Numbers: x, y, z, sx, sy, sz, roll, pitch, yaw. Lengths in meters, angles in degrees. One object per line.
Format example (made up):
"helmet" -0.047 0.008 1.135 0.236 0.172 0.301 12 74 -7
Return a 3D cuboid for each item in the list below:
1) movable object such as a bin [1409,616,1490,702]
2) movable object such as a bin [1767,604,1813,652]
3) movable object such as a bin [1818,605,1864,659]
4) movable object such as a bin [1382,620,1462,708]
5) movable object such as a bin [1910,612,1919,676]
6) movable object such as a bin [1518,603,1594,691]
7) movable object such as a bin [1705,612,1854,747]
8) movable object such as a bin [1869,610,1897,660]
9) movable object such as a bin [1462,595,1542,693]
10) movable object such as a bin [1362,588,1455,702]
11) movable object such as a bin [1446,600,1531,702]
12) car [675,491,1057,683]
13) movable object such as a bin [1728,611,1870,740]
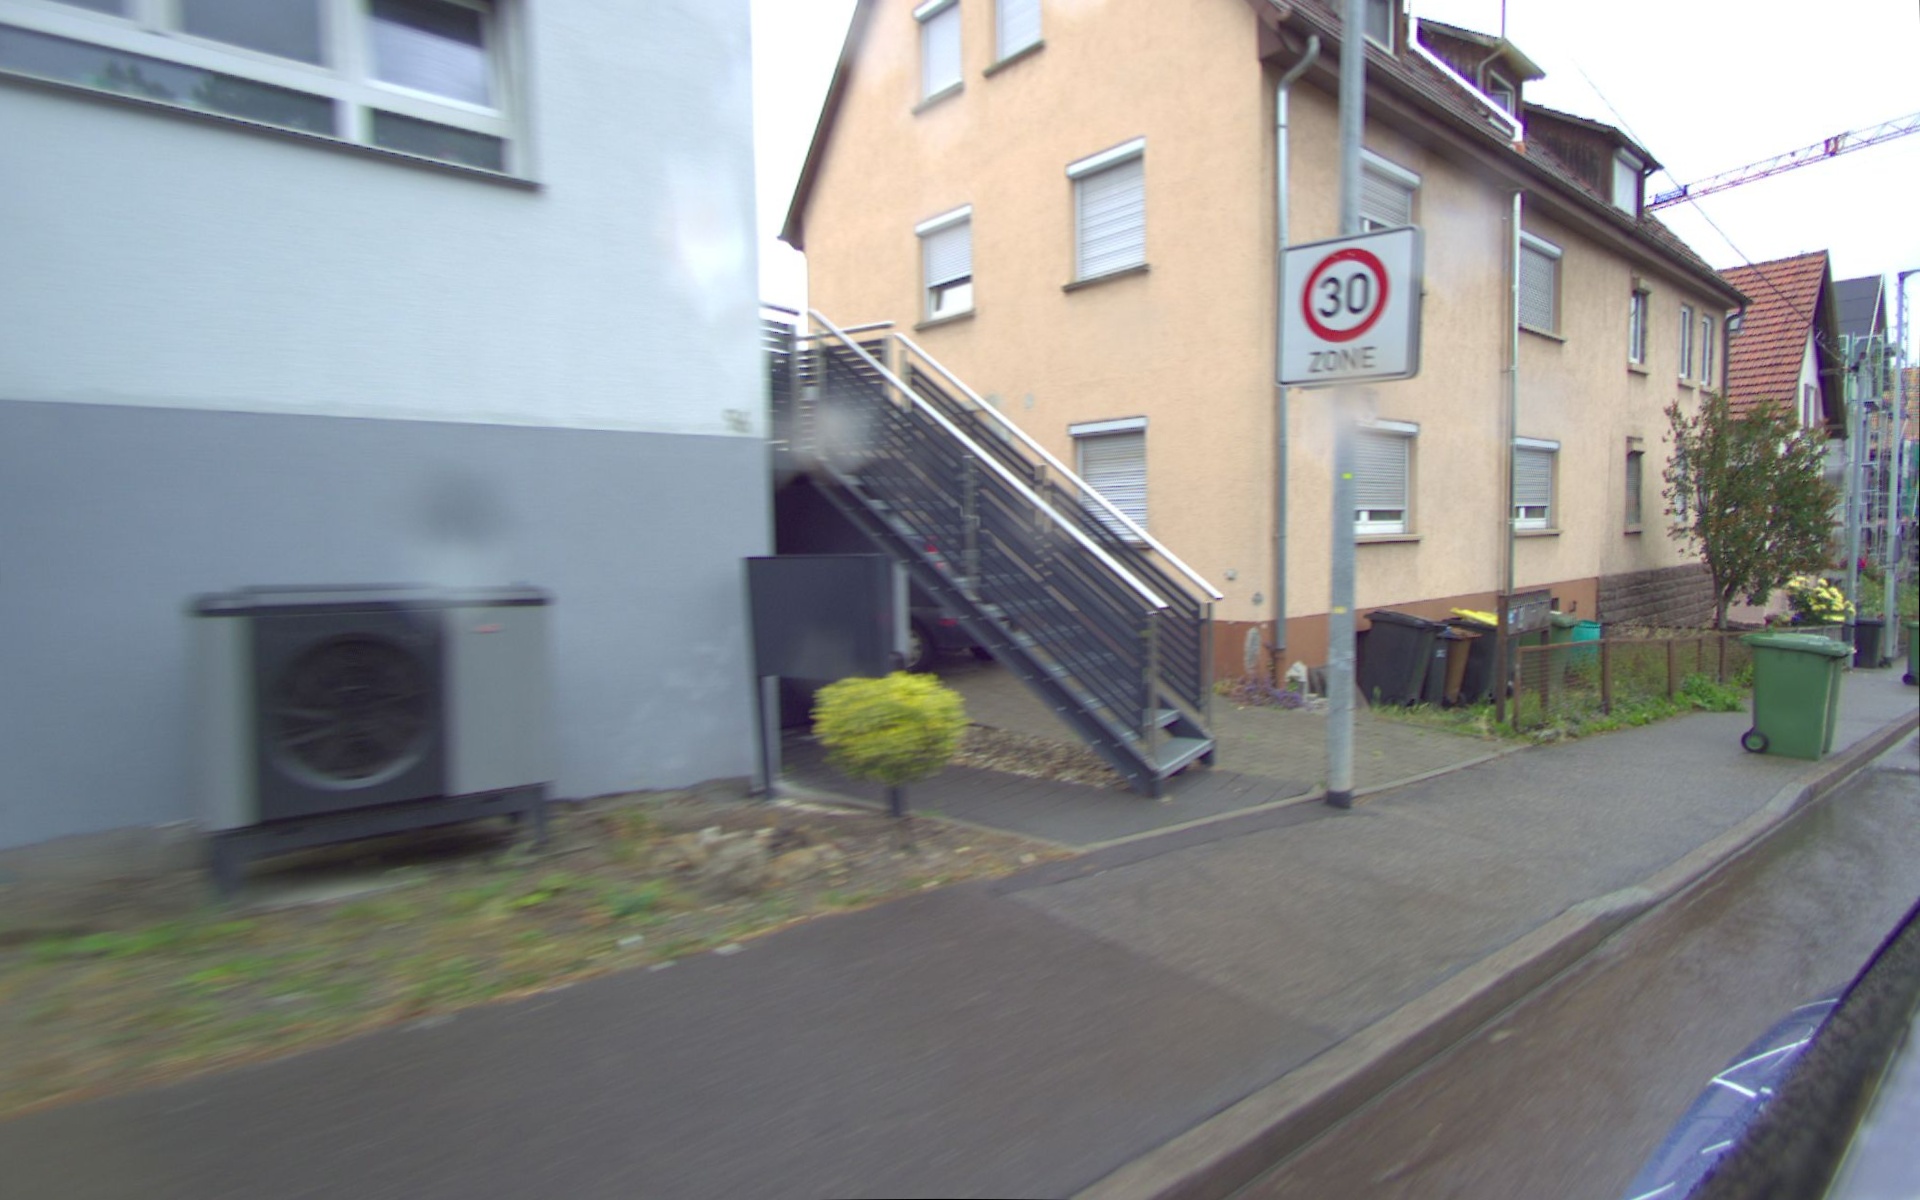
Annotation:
"movable object such as a bin" 5.587 0.656 11.562 0.527 0.906 0.671 1 1 -41
"movable object such as a bin" 18.789 0.619 22.914 0.779 0.978 0.611 0 7 -43
"movable object such as a bin" 19.217 0.687 22.068 0.779 1.089 0.610 0 4 -43
"movable object such as a bin" 5.116 0.696 11.214 0.527 0.906 0.638 1 1 -41
"movable object such as a bin" 16.780 0.759 17.251 0.785 1.065 0.722 0 1 -38
"movable object such as a bin" 8.113 0.616 13.785 0.645 1.106 0.661 0 4 -43
"movable object such as a bin" 7.440 0.686 9.196 0.689 1.117 0.916 0 1 -38
"movable object such as a bin" 19.519 0.732 21.403 0.479 1.031 0.380 0 1 -41
"movable object such as a bin" 6.691 0.524 12.492 0.536 1.106 0.646 0 5 -42
"movable object such as a bin" 4.733 0.456 10.695 0.536 1.106 0.662 0 5 -42
"movable object such as a bin" 6.263 0.581 12.002 0.536 1.106 0.662 0 5 -42
"car" -1.138 -0.274 11.053 3.983 1.465 1.760 10 8 38
"movable object such as a bin" 8.004 0.685 9.667 0.689 1.117 0.916 0 1 -38
